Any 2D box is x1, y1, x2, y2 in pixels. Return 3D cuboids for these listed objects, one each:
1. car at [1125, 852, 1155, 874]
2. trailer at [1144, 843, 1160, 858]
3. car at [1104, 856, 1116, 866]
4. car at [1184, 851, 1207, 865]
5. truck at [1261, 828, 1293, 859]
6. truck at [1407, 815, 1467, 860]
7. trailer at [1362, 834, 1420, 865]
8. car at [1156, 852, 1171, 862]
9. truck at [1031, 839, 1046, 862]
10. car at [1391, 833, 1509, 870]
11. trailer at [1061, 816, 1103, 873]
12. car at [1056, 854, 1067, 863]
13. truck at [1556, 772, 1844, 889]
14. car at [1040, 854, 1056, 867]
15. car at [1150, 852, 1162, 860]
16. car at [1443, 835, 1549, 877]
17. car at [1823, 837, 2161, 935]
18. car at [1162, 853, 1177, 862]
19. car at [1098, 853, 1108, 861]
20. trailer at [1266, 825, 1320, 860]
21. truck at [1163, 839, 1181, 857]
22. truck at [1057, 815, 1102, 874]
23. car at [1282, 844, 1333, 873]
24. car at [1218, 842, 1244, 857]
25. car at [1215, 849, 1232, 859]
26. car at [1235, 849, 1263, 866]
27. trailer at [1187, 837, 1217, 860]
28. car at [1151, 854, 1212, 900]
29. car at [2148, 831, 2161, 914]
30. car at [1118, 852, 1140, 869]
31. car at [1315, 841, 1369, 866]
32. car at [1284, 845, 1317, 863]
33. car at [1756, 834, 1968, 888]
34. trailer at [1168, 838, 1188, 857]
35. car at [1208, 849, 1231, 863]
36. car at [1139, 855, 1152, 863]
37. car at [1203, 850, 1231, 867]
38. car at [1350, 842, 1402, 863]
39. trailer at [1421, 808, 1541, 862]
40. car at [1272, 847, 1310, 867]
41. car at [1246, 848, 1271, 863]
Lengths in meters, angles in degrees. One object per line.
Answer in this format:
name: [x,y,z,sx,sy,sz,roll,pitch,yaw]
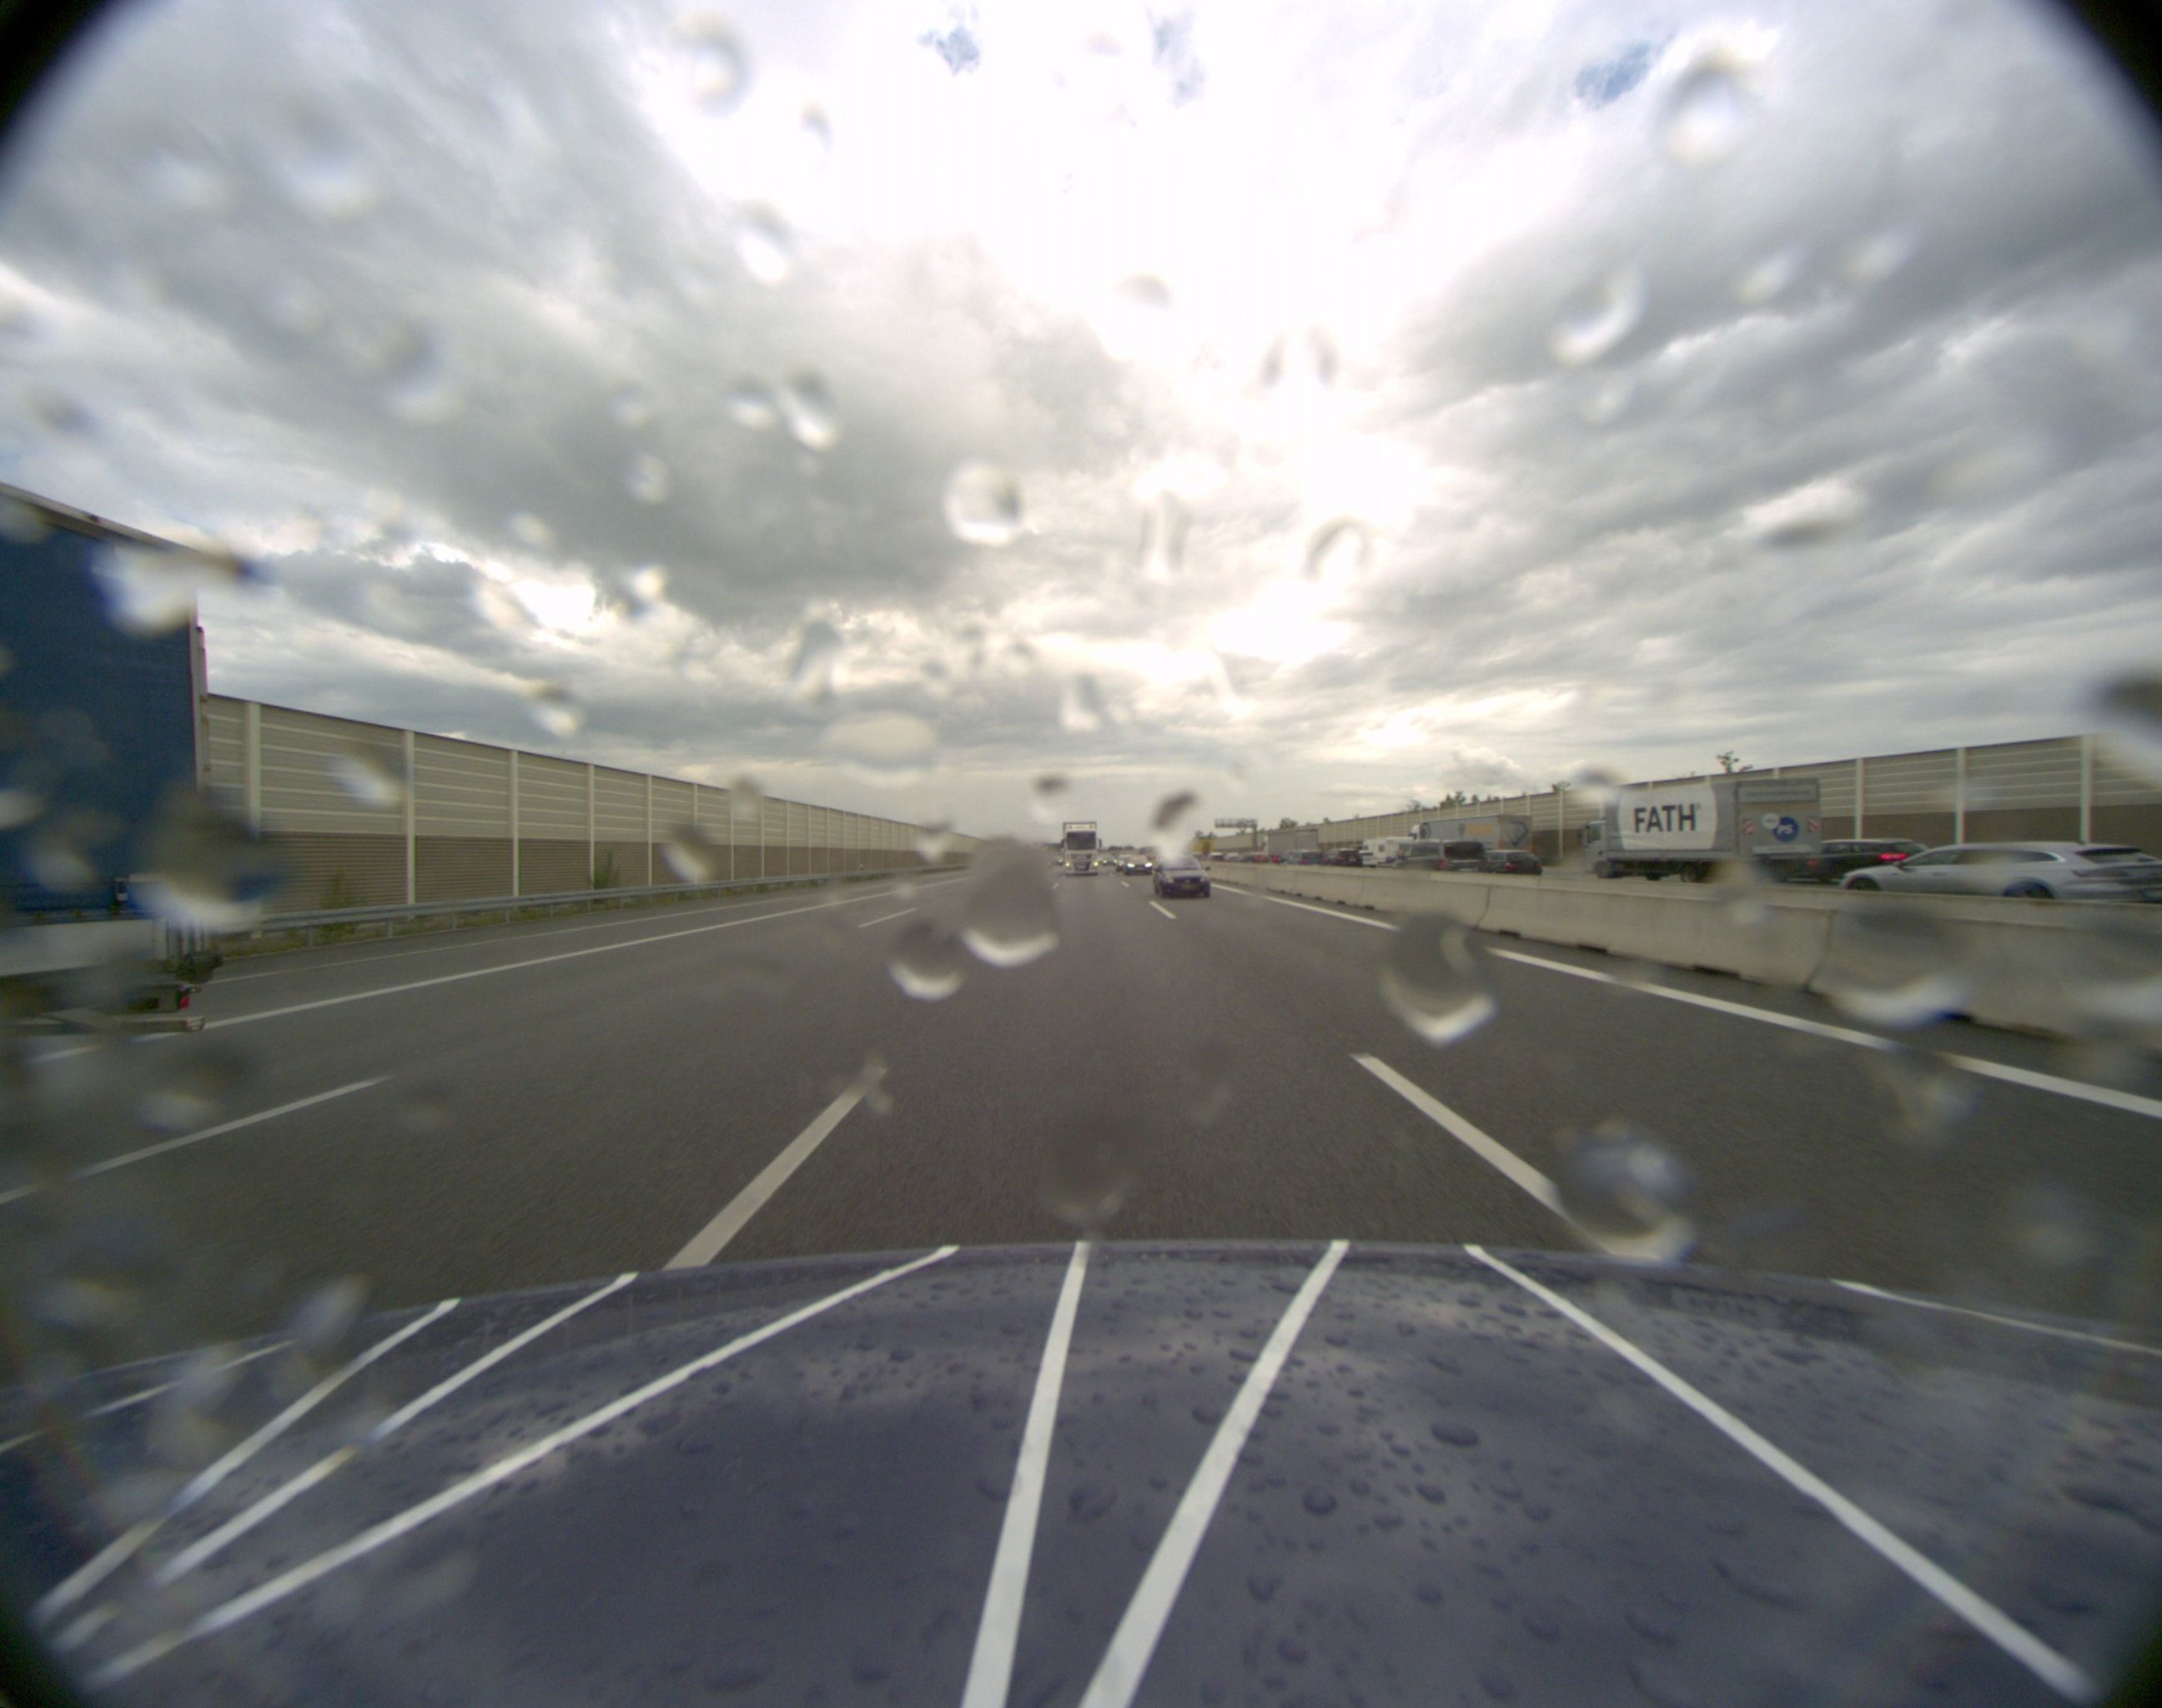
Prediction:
car: [4.192,0.620,54.574,1.776,1.451,4.480,-2,0,0]
trailer: [20.345,-1.026,218.397,3.066,4.136,14.314,-1,0,-1]
car: [4.009,0.957,104.394,1.498,1.395,4.000,-2,0,0]
car: [13.969,0.488,93.083,1.960,1.689,4.892,-1,0,-2]
truck: [26.423,-1.440,102.599,2.752,4.011,5.725,-2,0,0]
truck: [33.433,-1.540,71.660,2.924,4.011,5.725,-2,0,0]
trailer: [26.323,-0.387,64.806,2.465,2.480,6.085,-1,0,0]
car: [14.126,0.497,130.172,2.066,1.689,4.410,-1,0,-2]
truck: [-8.120,-0.659,145.940,2.599,4.088,11.369,-2,0,-2]
car: [14.323,-0.076,29.920,1.878,1.291,5.600,-1,0,-1]
trailer: [0.249,-0.754,64.695,2.925,4.188,13.198,-2,0,2]
car: [-3.049,0.713,117.665,1.498,1.395,4.000,-2,0,0]
truck: [22.209,-0.734,28.404,2.703,3.506,9.996,-3,0,1]
car: [-3.726,0.753,86.941,1.698,1.395,3.999,-2,0,0]
car: [17.512,0.477,178.067,2.066,1.990,5.806,-1,0,-2]
car: [18.239,0.077,33.724,1.878,1.689,5.015,-1,0,-1]
car: [18.238,0.503,15.135,2.065,1.590,4.997,-1,1,0]
car: [17.813,0.702,152.635,2.066,1.881,5.806,-1,0,-2]
car: [3.827,0.544,132.411,1.498,1.395,4.000,-2,0,0]
trailer: [26.385,-1.410,95.484,2.768,4.008,14.452,-2,0,0]
truck: [21.392,-1.308,179.251,2.945,3.922,11.066,-1,0,0]
truck: [-0.043,-0.718,57.660,2.913,4.146,5.193,-3,0,3]
car: [14.094,0.276,47.507,1.878,1.689,4.221,-1,0,-1]
car: [18.325,-0.540,92.999,2.066,1.805,5.113,-1,0,-2]
car: [26.002,-0.026,138.945,2.066,1.689,4.410,-1,0,-2]
car: [18.458,0.382,83.692,1.960,1.689,4.410,-1,0,-2]
trailer: [21.912,-0.979,138.327,2.768,4.008,14.450,-2,0,-1]
car: [3.413,0.736,26.400,1.578,1.395,4.000,-2,0,0]
car: [21.701,0.354,12.225,2.065,1.590,4.997,-1,1,0]
car: [4.212,0.546,67.253,1.732,1.395,4.000,-2,0,0]
car: [18.334,-0.030,53.660,2.066,1.689,5.088,-1,0,0]
car: [22.633,0.008,78.447,1.960,1.689,4.410,-1,0,-2]
car: [26.055,0.183,25.689,2.065,1.590,4.997,-1,1,0]
trailer: [21.422,-1.394,168.633,2.938,3.916,10.119,-1,0,0]
car: [19.093,0.324,104.771,2.066,1.805,4.777,-1,0,-2]
car: [13.419,1.033,157.503,2.066,1.745,5.806,-1,0,-2]
car: [14.061,0.472,78.936,1.960,1.689,4.410,-1,0,-2]
car: [21.990,-0.134,56.908,2.065,1.482,4.997,-1,1,1]
trailer: [33.400,-1.502,64.535,2.943,4.008,13.859,-2,0,0]
car: [18.516,0.288,67.239,1.960,1.689,4.410,-1,0,-2]
car: [21.591,0.212,92.630,1.960,1.689,4.410,-1,0,-2]
